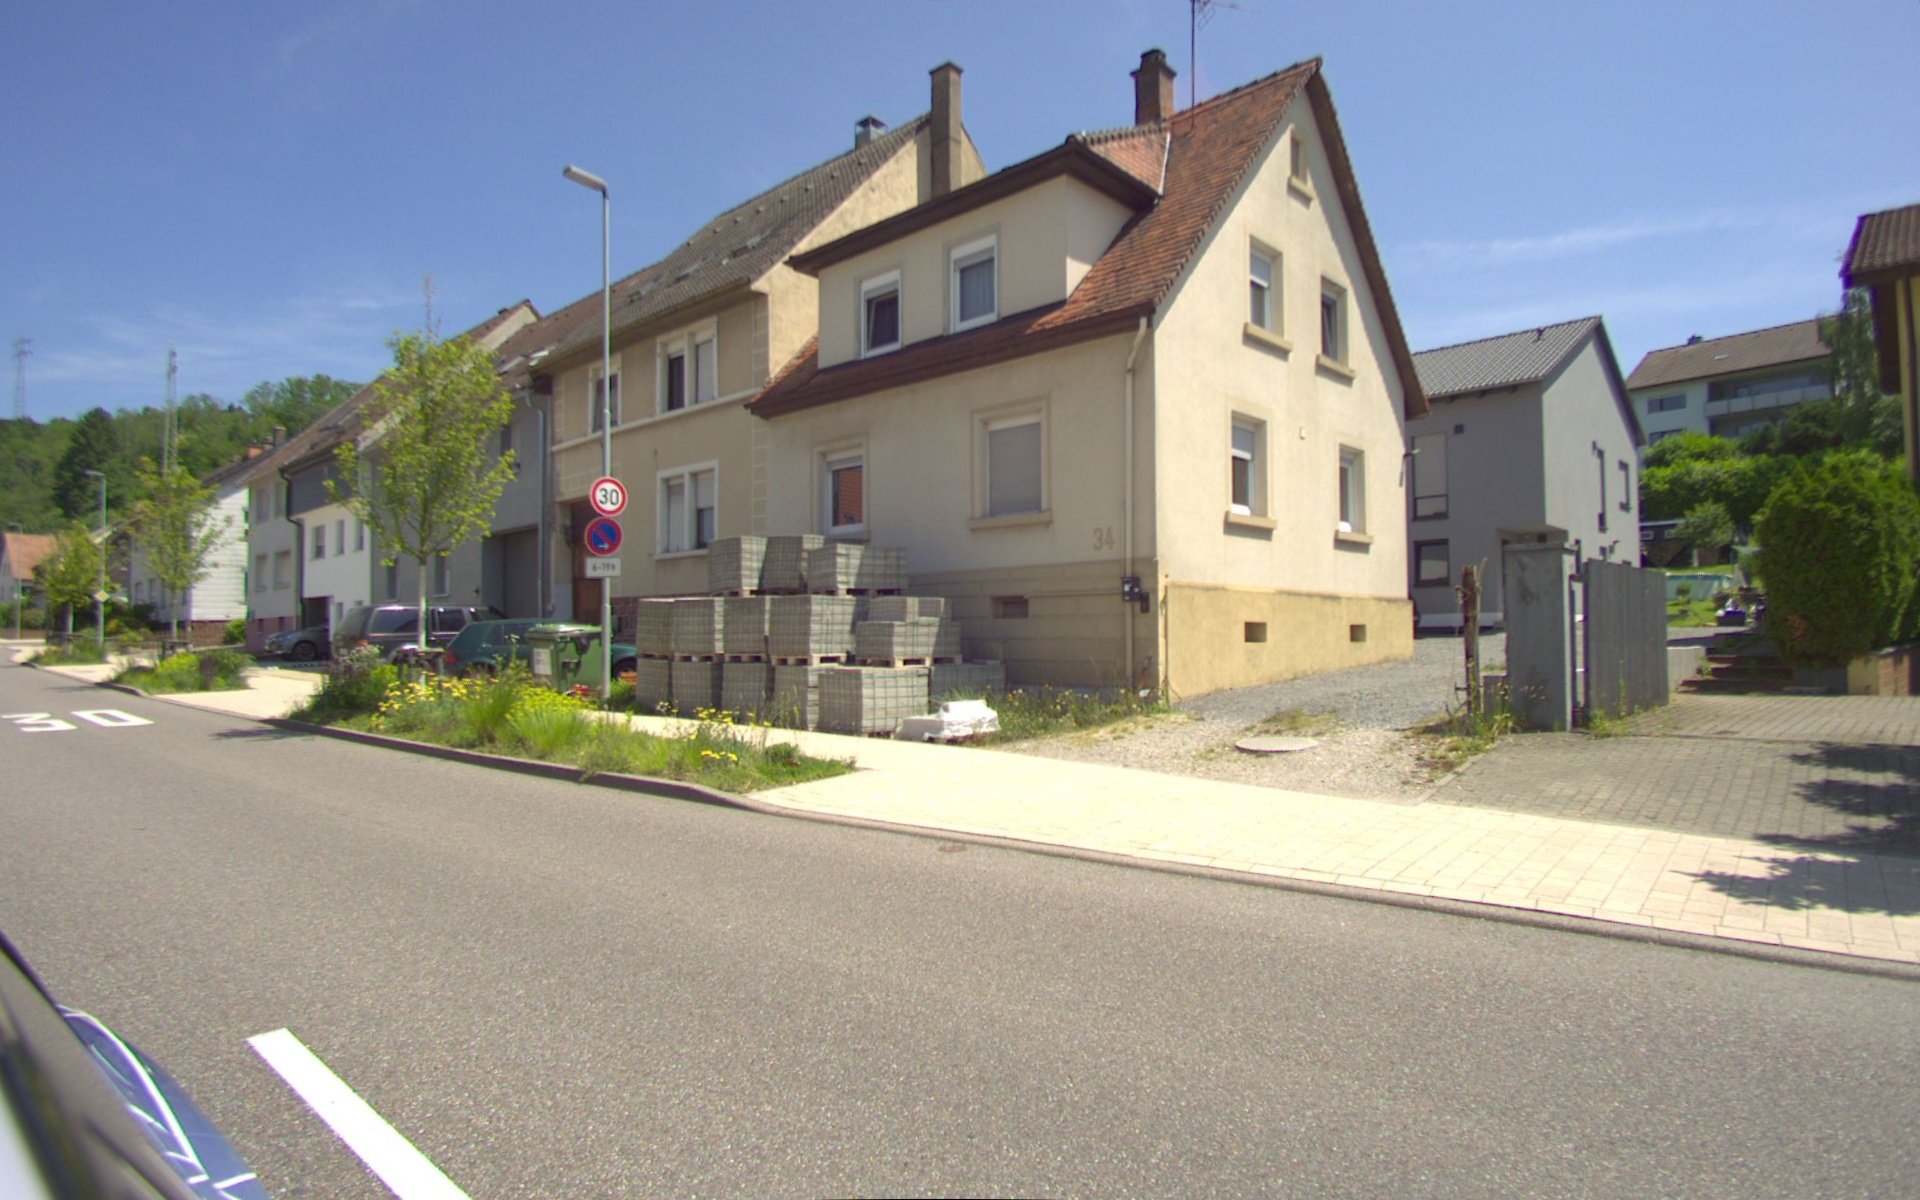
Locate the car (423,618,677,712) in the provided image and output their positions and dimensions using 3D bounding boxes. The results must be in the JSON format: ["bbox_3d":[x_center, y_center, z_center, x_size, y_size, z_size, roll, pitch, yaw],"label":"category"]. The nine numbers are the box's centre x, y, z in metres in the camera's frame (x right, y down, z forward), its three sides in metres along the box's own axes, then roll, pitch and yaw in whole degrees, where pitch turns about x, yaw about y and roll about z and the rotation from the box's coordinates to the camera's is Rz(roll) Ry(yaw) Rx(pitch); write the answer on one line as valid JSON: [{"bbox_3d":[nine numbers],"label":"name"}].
[{"bbox_3d":[-7.274,1.122,18.321,3.986,1.511,1.707,-1,0,-10],"label":"car"}]

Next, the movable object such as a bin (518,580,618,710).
[{"bbox_3d":[-6.471,0.711,16.694,1.322,2.029,1.048,-1,-1,42],"label":"movable object such as a bin"}]

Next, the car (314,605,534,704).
[{"bbox_3d":[-10.846,1.026,20.637,1.847,1.804,3.560,-1,0,40],"label":"car"}]
